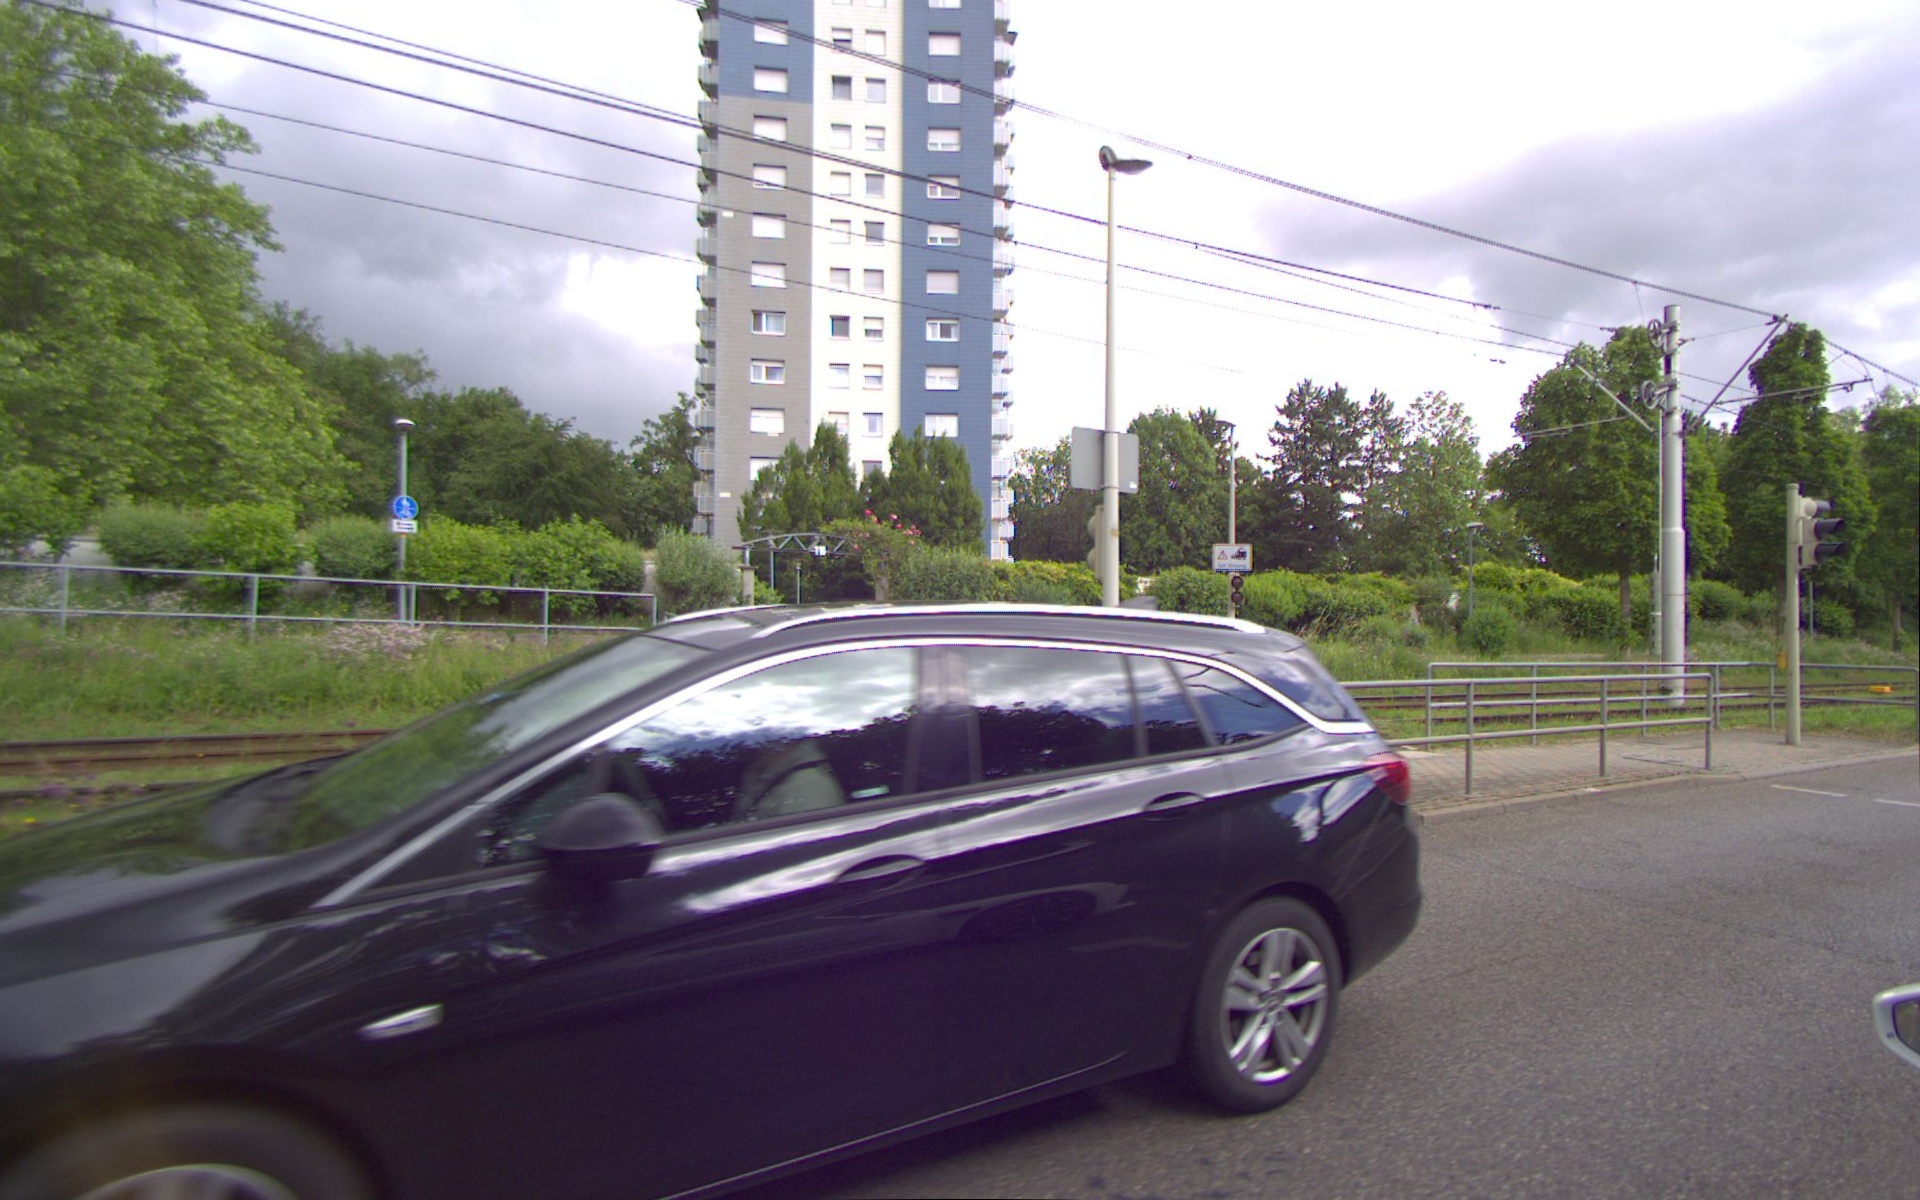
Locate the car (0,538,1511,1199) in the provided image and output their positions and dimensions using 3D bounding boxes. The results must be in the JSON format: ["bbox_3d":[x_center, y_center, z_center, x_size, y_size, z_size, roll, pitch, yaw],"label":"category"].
[{"bbox_3d":[-0.398,0.677,3.152,4.206,1.490,1.841,1,0,-30],"label":"car"}]
